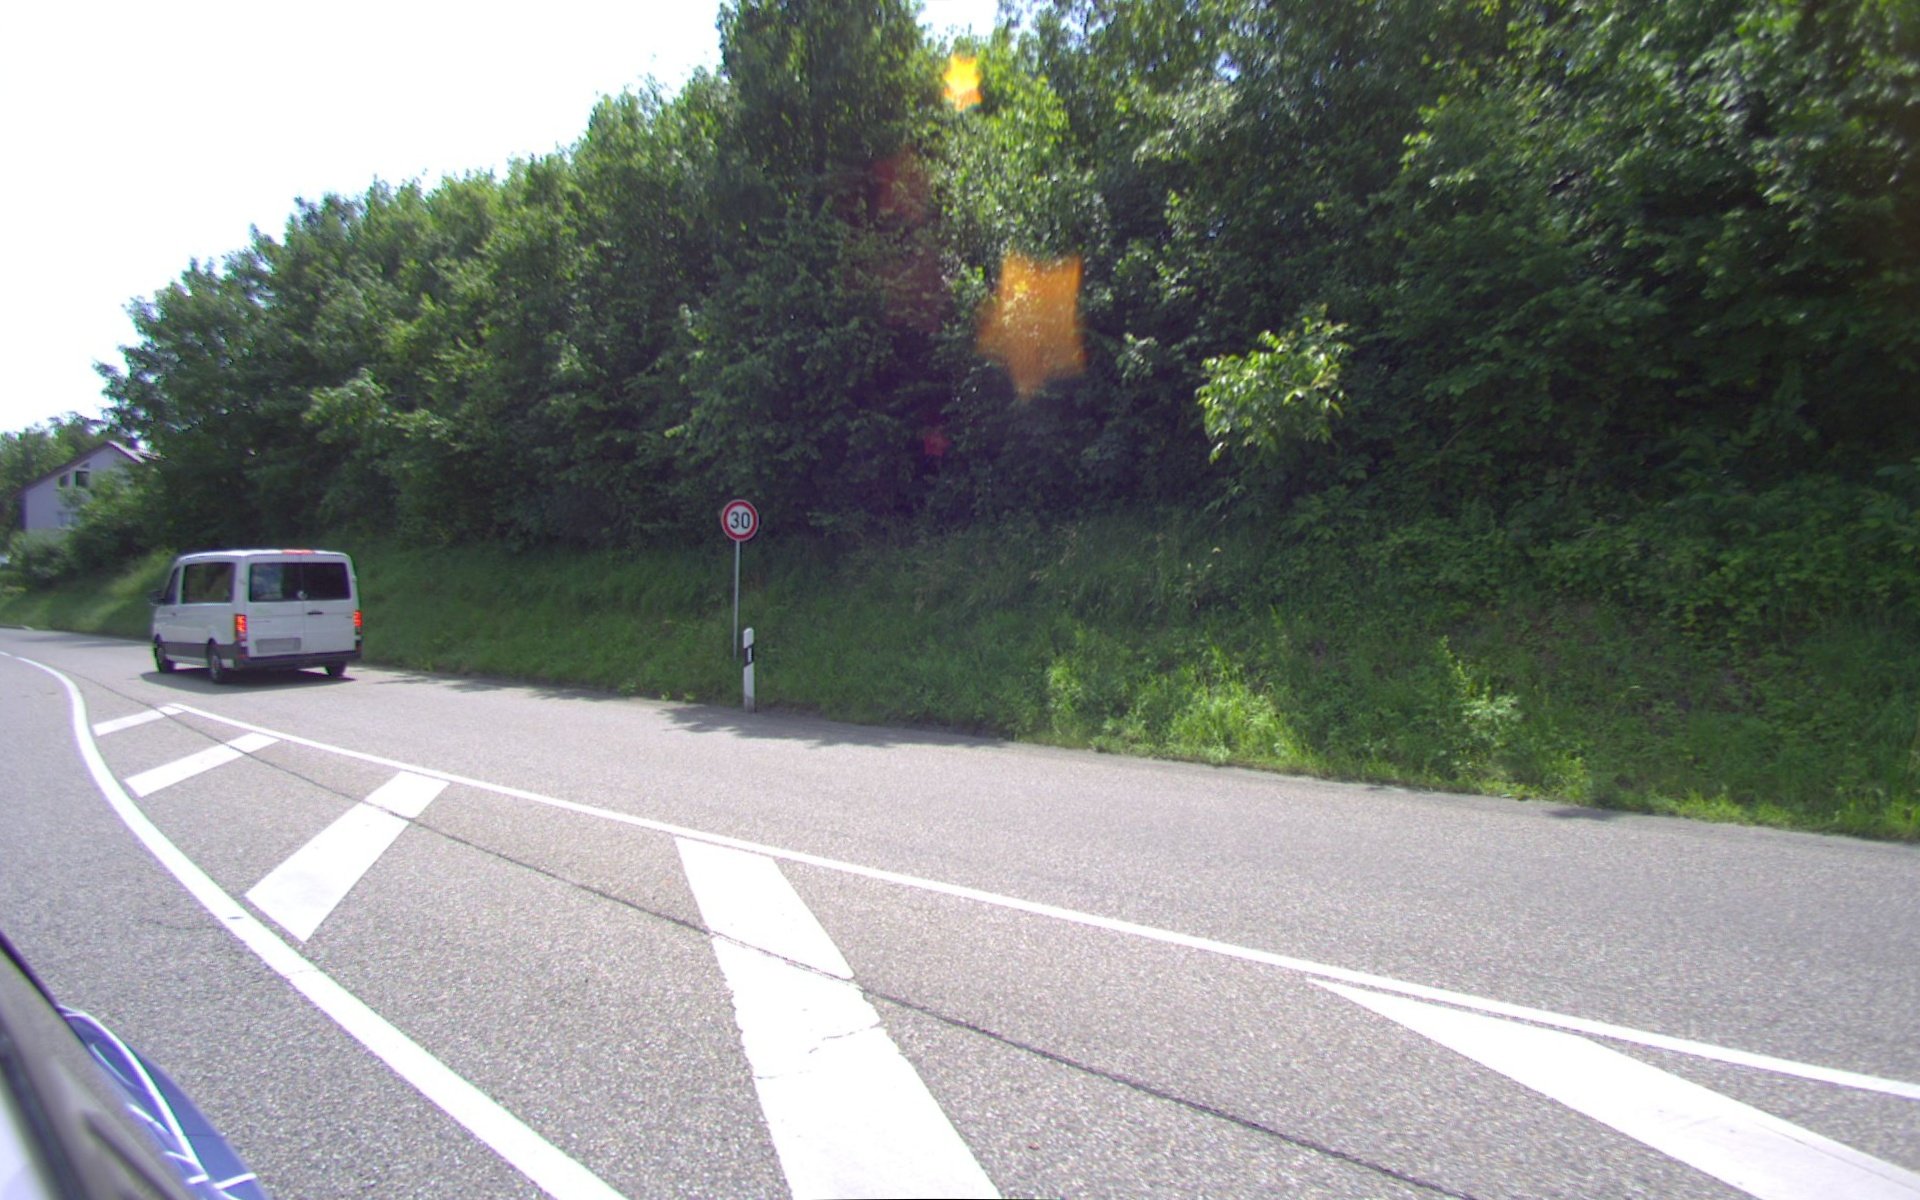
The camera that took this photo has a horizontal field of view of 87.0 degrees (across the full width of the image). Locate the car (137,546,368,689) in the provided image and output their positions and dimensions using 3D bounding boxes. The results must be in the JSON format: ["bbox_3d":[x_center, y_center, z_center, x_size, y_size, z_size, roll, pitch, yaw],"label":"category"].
[{"bbox_3d":[-13.437,0.305,19.045,5.941,2.308,2.065,-1,-1,40],"label":"car"}]
